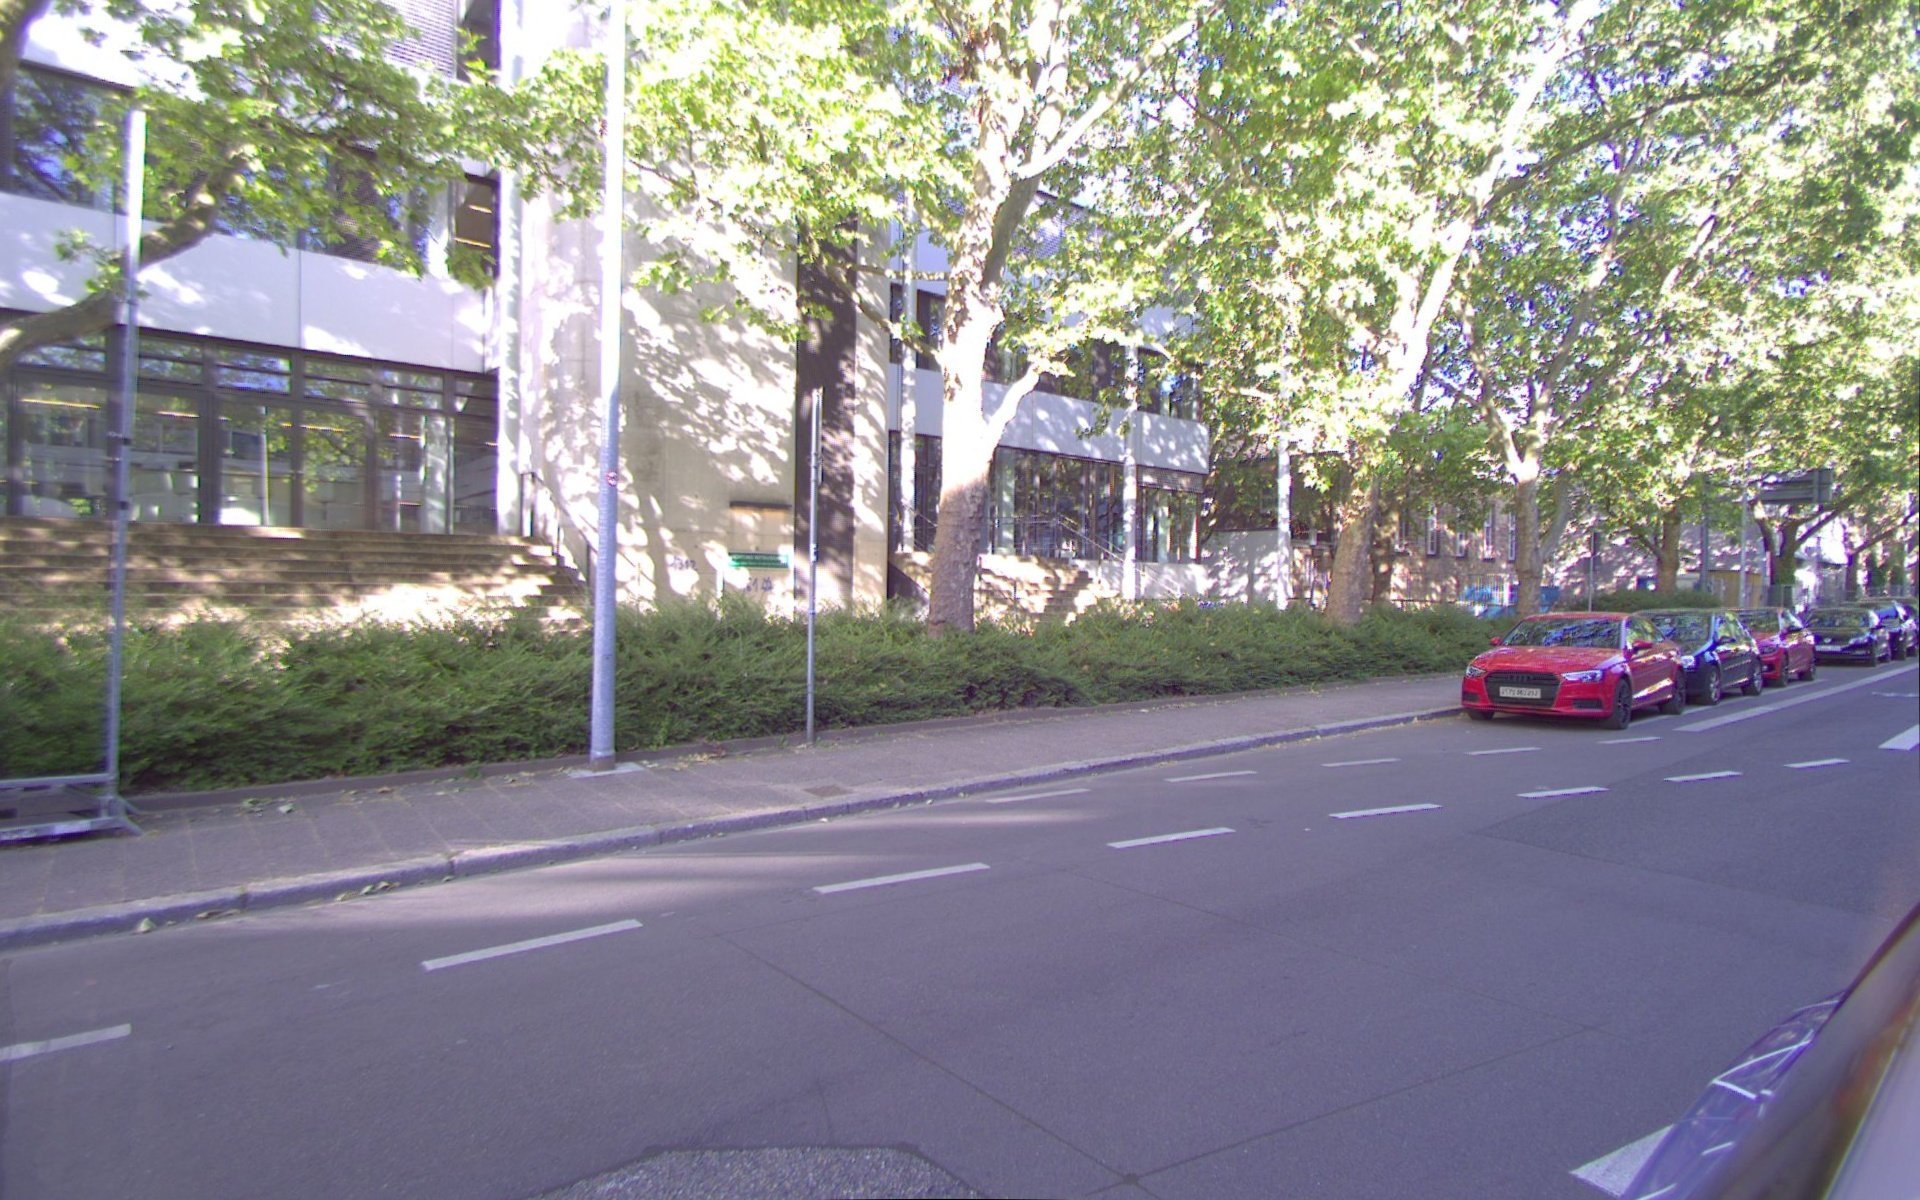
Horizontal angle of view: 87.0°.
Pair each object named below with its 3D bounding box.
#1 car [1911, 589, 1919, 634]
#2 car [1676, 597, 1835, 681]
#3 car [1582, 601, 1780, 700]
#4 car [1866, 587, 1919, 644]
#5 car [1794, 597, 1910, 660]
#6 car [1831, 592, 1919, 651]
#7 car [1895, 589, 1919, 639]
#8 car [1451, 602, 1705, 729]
[{"bbox_3d":[39.616,0.434,40.389,4.475,1.777,2.040,0,-1,-42],"label":"car"},{"bbox_3d":[15.848,0.699,20.096,4.092,1.502,1.815,0,-1,-42],"label":"car"},{"bbox_3d":[11.942,0.737,16.675,4.092,1.431,1.815,0,-1,-42],"label":"car"},{"bbox_3d":[31.046,0.485,33.003,4.271,1.777,1.788,0,-1,-42],"label":"car"},{"bbox_3d":[23.040,0.677,26.089,4.092,1.478,1.788,0,-1,-42],"label":"car"},{"bbox_3d":[26.585,0.586,29.121,4.092,1.573,1.788,0,-1,-42],"label":"car"},{"bbox_3d":[35.899,0.480,37.239,4.475,1.777,1.788,0,-1,-42],"label":"car"},{"bbox_3d":[8.349,0.752,13.535,4.092,1.431,1.815,0,-1,-42],"label":"car"}]
